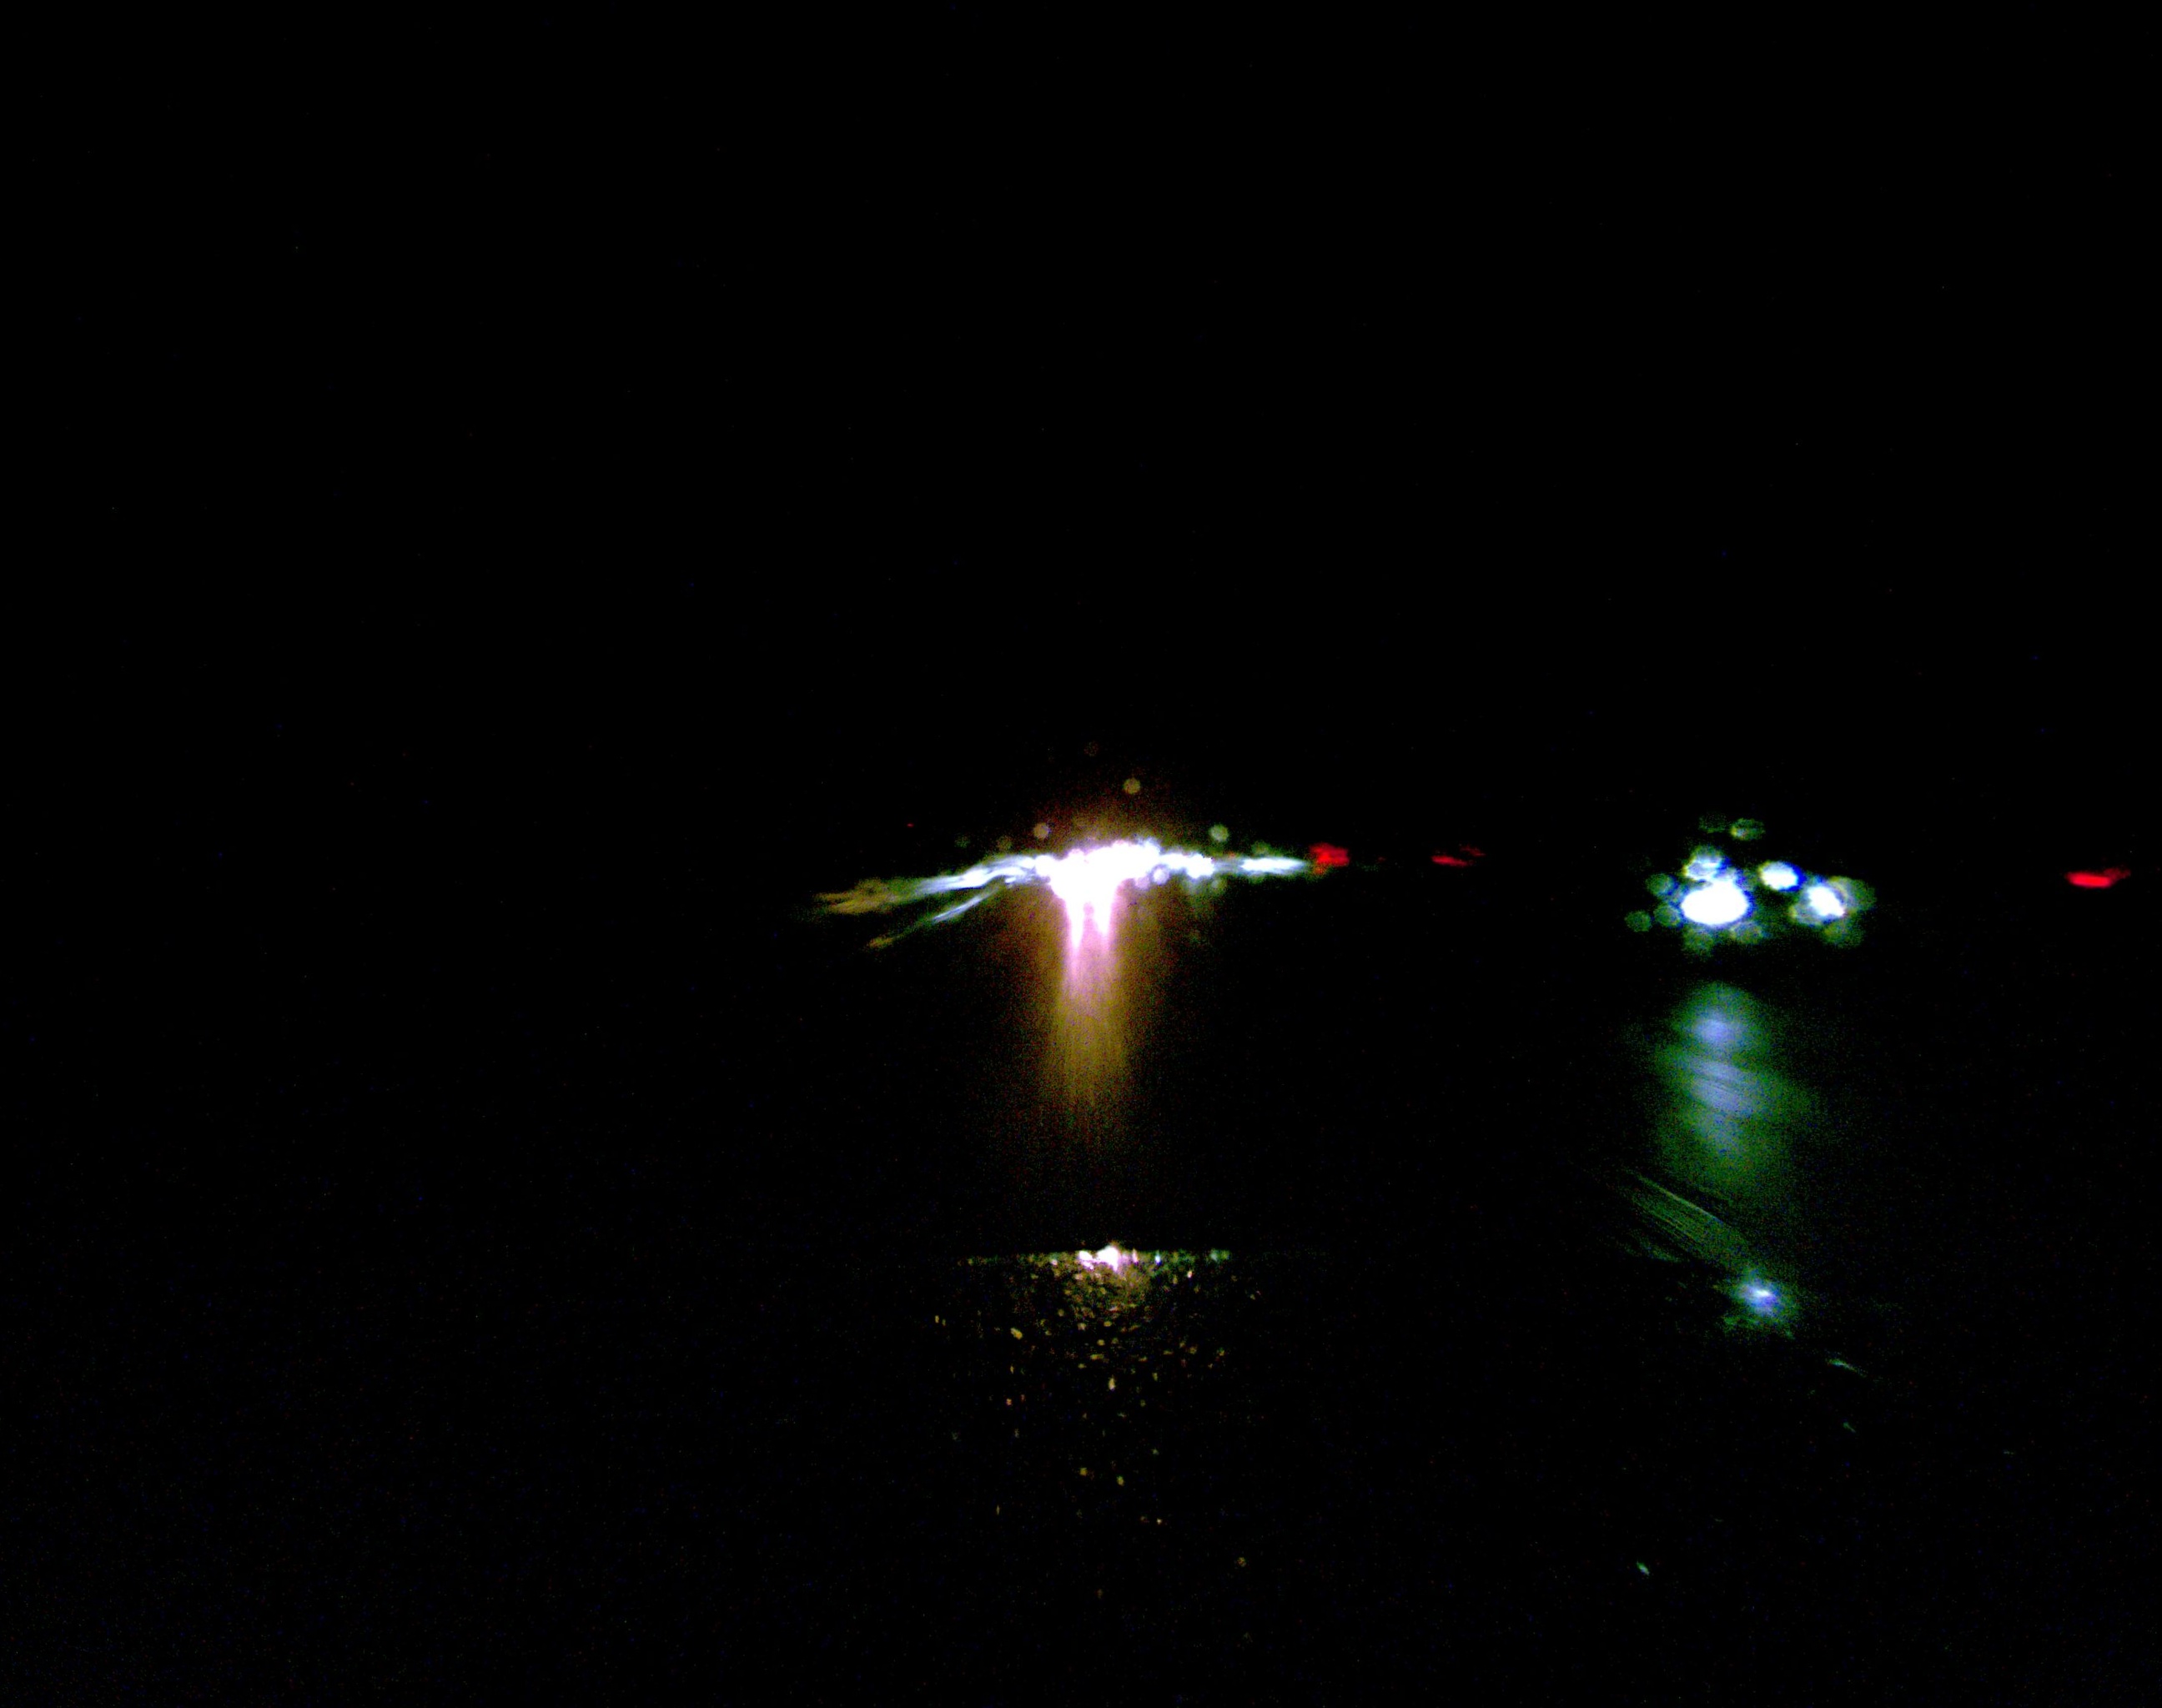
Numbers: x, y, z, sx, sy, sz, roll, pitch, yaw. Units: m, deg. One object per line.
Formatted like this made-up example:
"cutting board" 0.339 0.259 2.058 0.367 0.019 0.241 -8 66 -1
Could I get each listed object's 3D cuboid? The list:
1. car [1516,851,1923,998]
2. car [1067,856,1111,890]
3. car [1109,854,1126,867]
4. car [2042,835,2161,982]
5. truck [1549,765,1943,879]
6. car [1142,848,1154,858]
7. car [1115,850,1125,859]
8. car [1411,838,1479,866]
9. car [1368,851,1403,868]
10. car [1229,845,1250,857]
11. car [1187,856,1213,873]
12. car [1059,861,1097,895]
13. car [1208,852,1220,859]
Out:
"car" 7.863 0.734 9.986 1.998 1.433 4.000 -2 1 1
"car" 0.415 0.938 38.283 1.998 1.542 4.001 -2 -1 1
"car" 4.631 0.800 97.519 1.998 1.551 4.587 -2 1 1
"car" 12.027 0.558 6.153 1.998 1.468 5.164 -2 1 1
"truck" 28.726 -1.230 35.374 3.508 3.865 17.179 -2 1 1
"car" 13.113 -0.179 148.494 1.998 1.797 4.000 -2 1 2
"car" 8.271 0.015 162.408 1.998 1.797 4.000 -2 1 2
"car" 21.644 -0.143 45.406 1.884 1.548 4.459 -2 1 0
"car" 31.864 0.550 79.599 1.884 1.548 4.459 -2 1 0
"car" 21.430 -0.454 102.692 1.884 1.548 4.459 -2 1 0
"car" 12.275 1.058 78.344 1.998 1.551 4.587 -2 1 1
"car" -0.093 1.011 33.232 1.525 1.256 3.369 -2 1 1
"car" 29.613 0.329 169.384 1.884 1.548 4.459 -2 1 0
